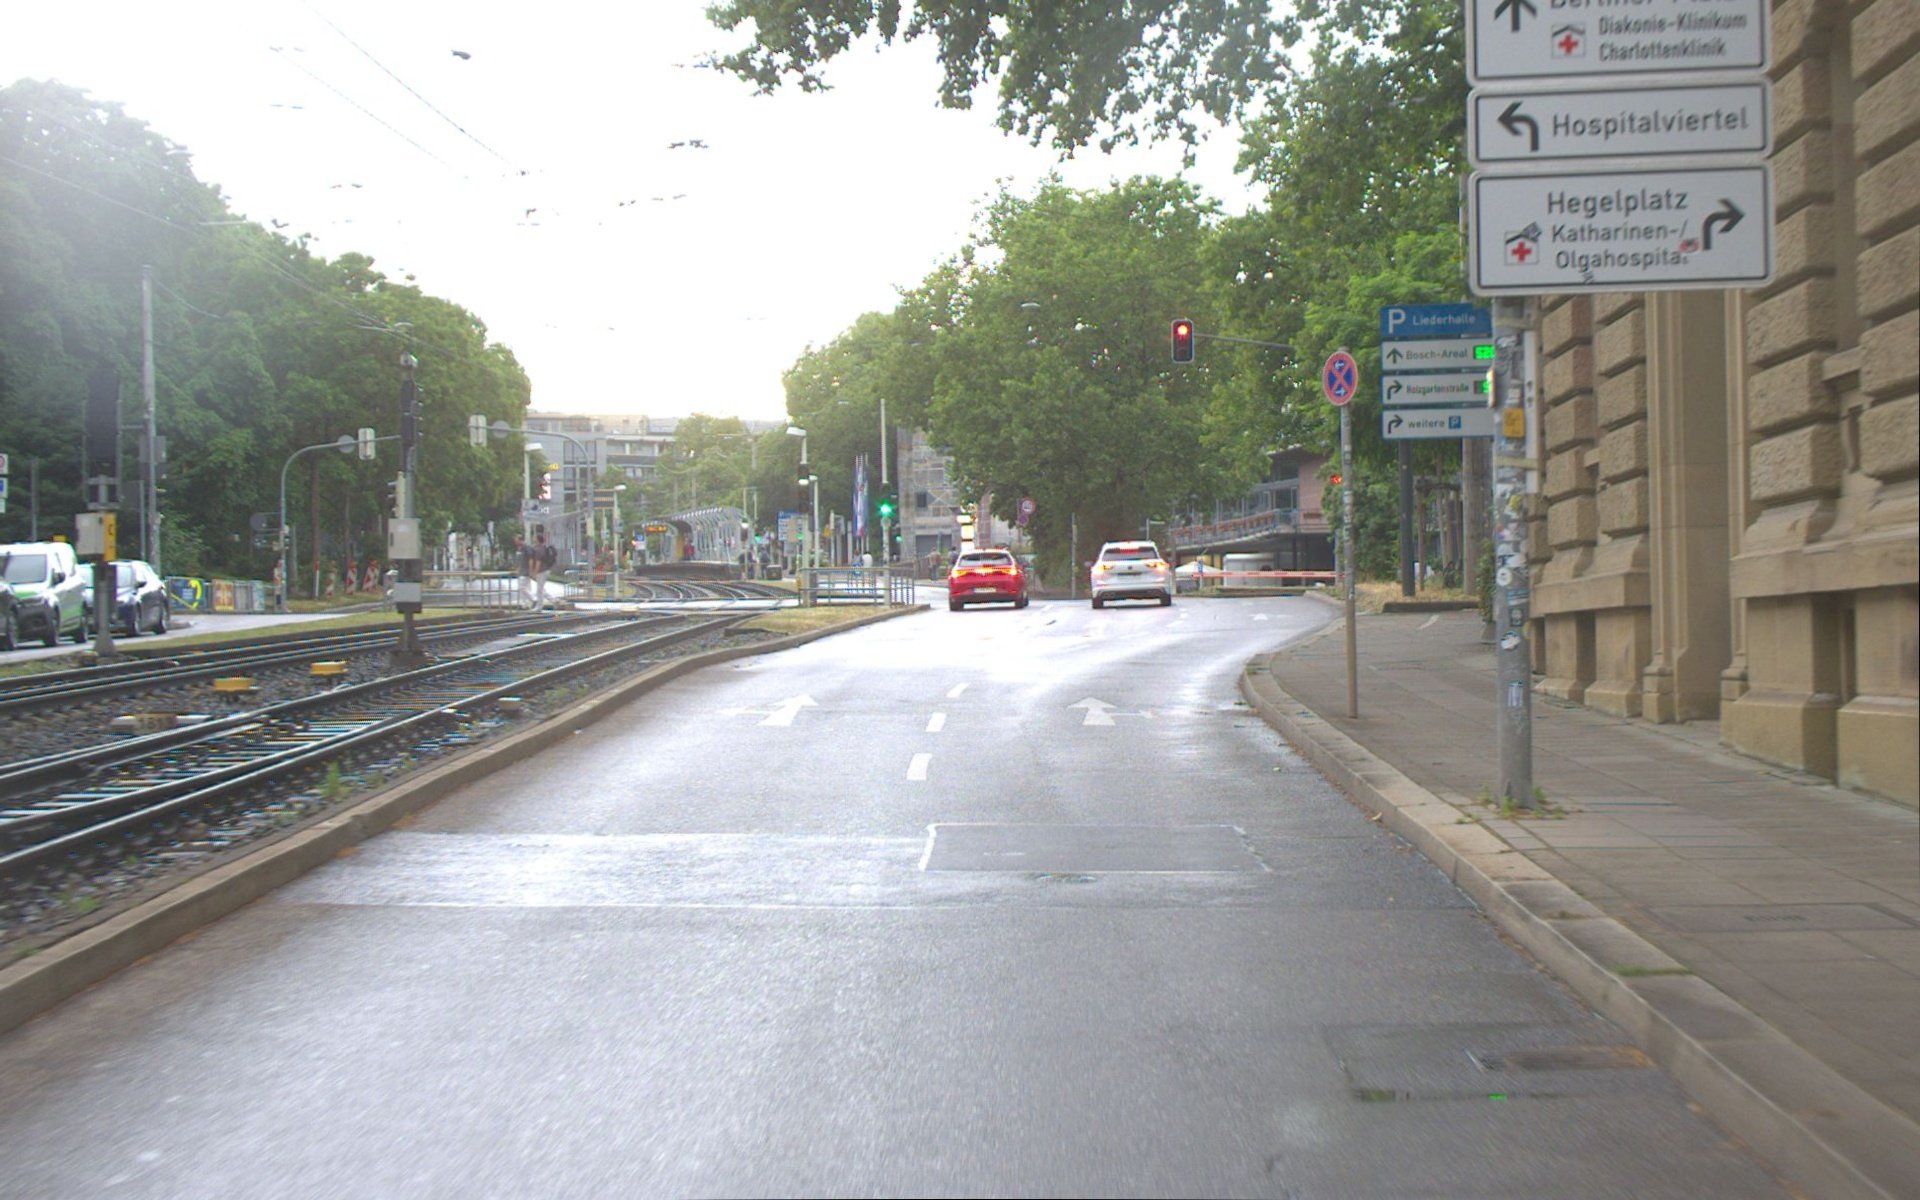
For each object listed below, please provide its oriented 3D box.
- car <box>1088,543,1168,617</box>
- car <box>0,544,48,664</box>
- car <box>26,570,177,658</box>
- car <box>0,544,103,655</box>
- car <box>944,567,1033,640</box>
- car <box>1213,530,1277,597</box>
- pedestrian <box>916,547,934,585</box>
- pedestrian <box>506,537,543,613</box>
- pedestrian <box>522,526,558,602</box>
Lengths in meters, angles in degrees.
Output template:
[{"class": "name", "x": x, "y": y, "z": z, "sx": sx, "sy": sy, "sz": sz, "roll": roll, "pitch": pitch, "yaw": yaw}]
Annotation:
[{"class": "car", "x": 3.795, "y": -0.466, "z": 77.000, "sx": 1.679, "sy": 1.571, "sz": 4.252, "roll": -1, "pitch": 1, "yaw": 4}, {"class": "car", "x": -15.899, "y": 0.053, "z": 54.270, "sx": 1.993, "sy": 1.844, "sz": 4.696, "roll": 1, "pitch": -1, "yaw": -4}, {"class": "car", "x": -16.455, "y": 0.278, "z": 66.116, "sx": 1.993, "sy": 1.577, "sz": 4.550, "roll": 1, "pitch": -1, "yaw": -4}, {"class": "car", "x": -16.403, "y": -0.008, "z": 59.937, "sx": 1.993, "sy": 1.844, "sz": 4.696, "roll": 1, "pitch": -1, "yaw": -4}, {"class": "car", "x": 0.699, "y": 0.098, "z": 80.757, "sx": 1.980, "sy": 1.634, "sz": 4.416, "roll": 1, "pitch": -1, "yaw": 2}, {"class": "car", "x": 13.847, "y": -1.735, "z": 167.151, "sx": 2.544, "sy": 3.123, "sz": 5.031, "roll": 1, "pitch": -1, "yaw": -1}, {"class": "pedestrian", "x": -1.725, "y": -1.679, "z": 169.414, "sx": 0.756, "sy": 1.817, "sz": 0.701, "roll": 1, "pitch": -1, "yaw": -9}, {"class": "pedestrian", "x": -10.389, "y": -0.585, "z": 82.005, "sx": 0.639, "sy": 1.782, "sz": 0.811, "roll": 2, "pitch": -1, "yaw": -24}, {"class": "pedestrian", "x": -9.919, "y": -0.842, "z": 81.192, "sx": 0.638, "sy": 1.782, "sz": 0.811, "roll": 1, "pitch": -1, "yaw": -19}]
